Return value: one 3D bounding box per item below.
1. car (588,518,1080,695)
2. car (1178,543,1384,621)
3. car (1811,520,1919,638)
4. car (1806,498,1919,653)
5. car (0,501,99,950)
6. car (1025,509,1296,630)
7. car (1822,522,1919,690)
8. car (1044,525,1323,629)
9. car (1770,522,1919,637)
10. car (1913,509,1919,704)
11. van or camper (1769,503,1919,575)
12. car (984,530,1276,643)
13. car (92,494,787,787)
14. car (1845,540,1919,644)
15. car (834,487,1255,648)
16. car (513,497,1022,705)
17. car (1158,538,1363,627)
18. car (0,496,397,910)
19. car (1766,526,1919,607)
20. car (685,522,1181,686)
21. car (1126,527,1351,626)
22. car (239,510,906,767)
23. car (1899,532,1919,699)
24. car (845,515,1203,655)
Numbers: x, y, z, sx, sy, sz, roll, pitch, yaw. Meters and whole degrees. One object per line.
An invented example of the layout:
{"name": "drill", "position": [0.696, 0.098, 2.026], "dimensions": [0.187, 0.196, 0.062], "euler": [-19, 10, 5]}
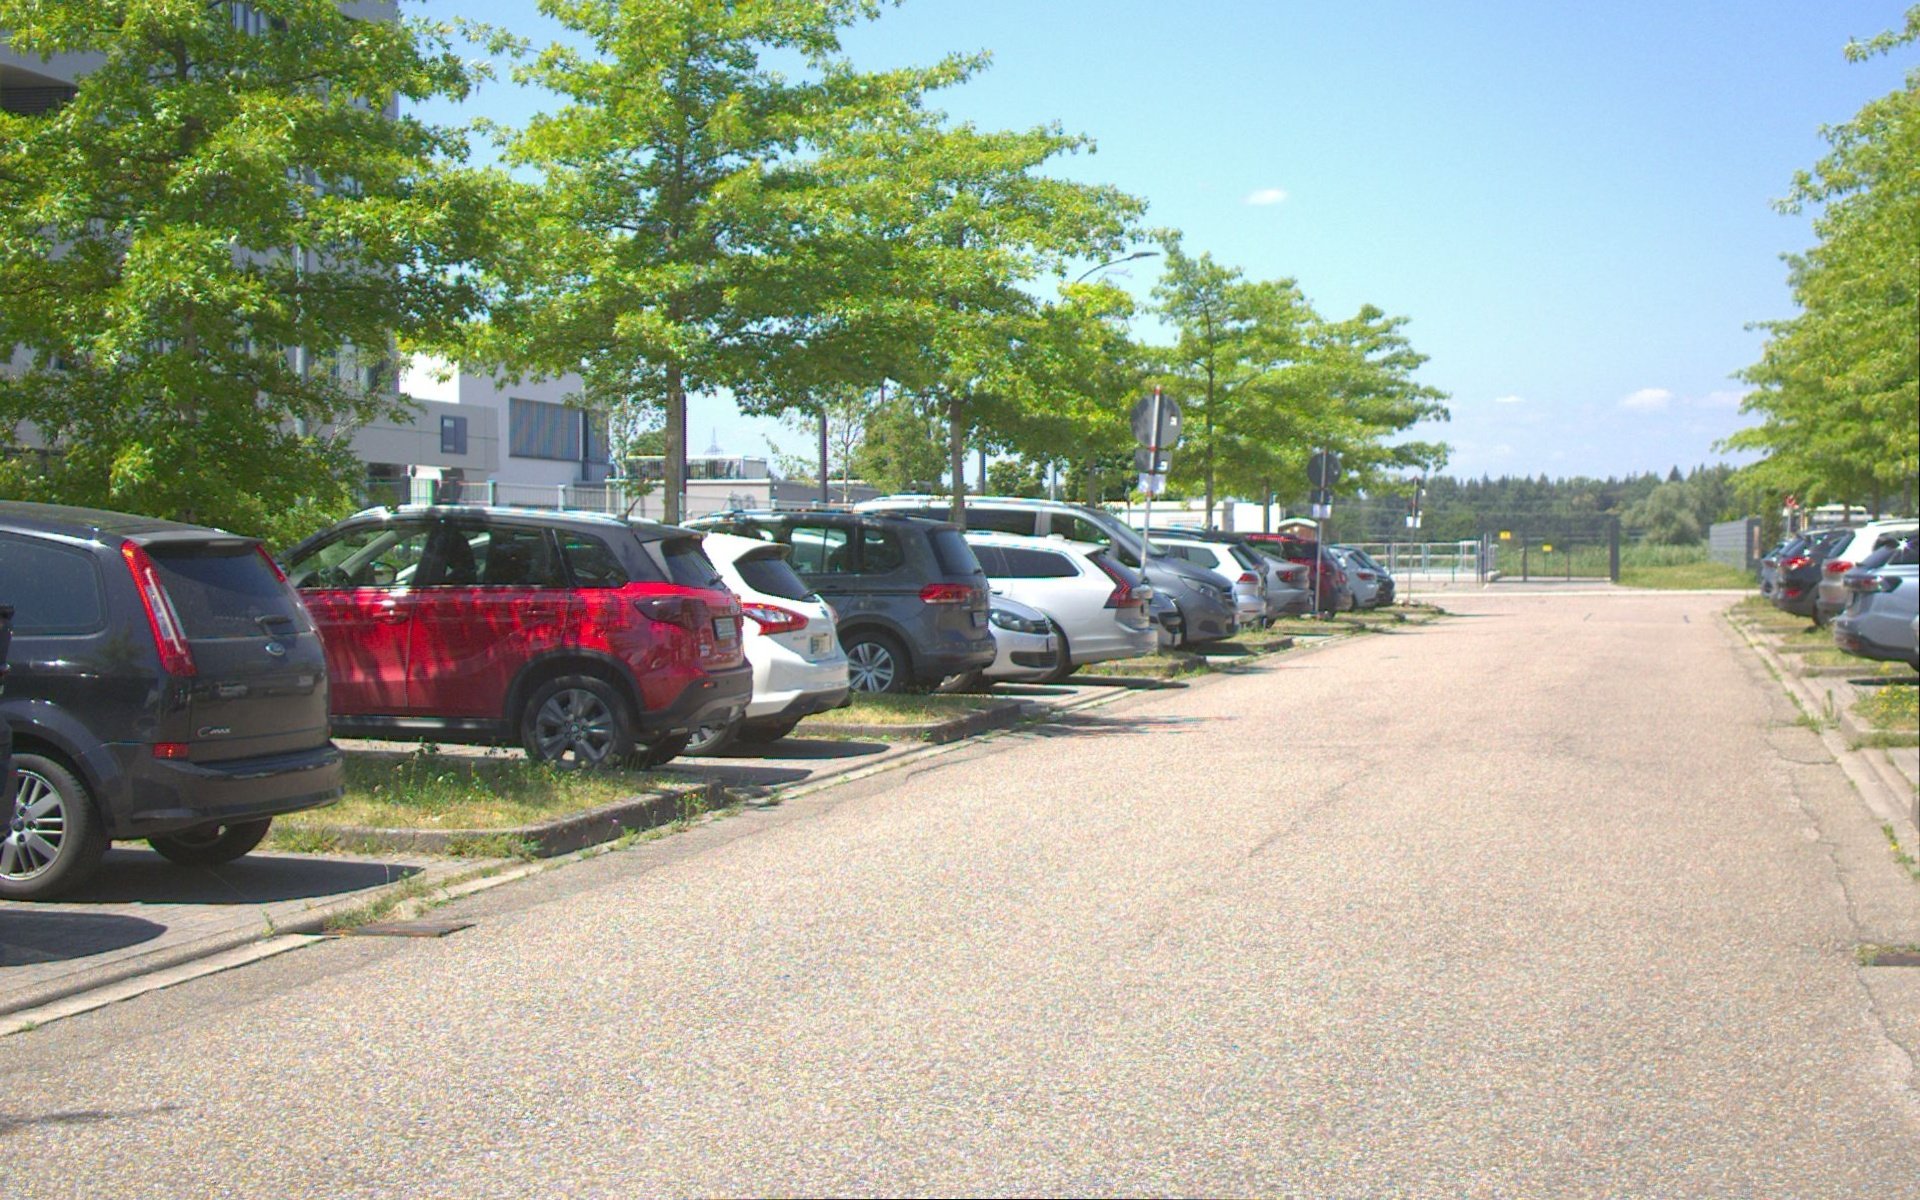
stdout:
{"name": "car", "position": [-1.147, 0.033, 32.217], "dimensions": [4.313, 1.468, 1.727], "euler": [2, 2, 10]}
{"name": "car", "position": [6.603, -0.378, 70.484], "dimensions": [4.077, 1.419, 1.873], "euler": [2, 1, 8]}
{"name": "car", "position": [14.486, -0.340, 50.225], "dimensions": [3.877, 1.672, 1.781], "euler": [-1, 0, 12]}
{"name": "car", "position": [12.544, -0.337, 41.570], "dimensions": [4.405, 1.824, 1.794], "euler": [-1, 0, 13]}
{"name": "car", "position": [-5.305, 0.387, 12.376], "dimensions": [3.839, 1.588, 1.829], "euler": [2, 2, 8]}
{"name": "car", "position": [3.091, -0.475, 52.609], "dimensions": [3.988, 1.673, 1.777], "euler": [2, 1, 7]}
{"name": "car", "position": [10.750, -0.005, 32.749], "dimensions": [4.717, 1.555, 1.913], "euler": [-1, 0, 8]}
{"name": "car", "position": [3.592, -0.377, 54.944], "dimensions": [4.195, 1.475, 1.712], "euler": [2, 1, 12]}
{"name": "car", "position": [14.677, -0.343, 52.951], "dimensions": [4.175, 1.690, 1.781], "euler": [-1, 0, 11]}
{"name": "car", "position": [9.839, 0.020, 27.676], "dimensions": [4.049, 1.619, 1.692], "euler": [-1, 0, 12]}
{"name": "van or camper", "position": [27.407, -1.868, 105.523], "dimensions": [4.938, 2.156, 1.999], "euler": [0, 0, 11]}
{"name": "car", "position": [2.494, -0.214, 49.973], "dimensions": [4.039, 1.456, 1.604], "euler": [2, 1, 9]}
{"name": "car", "position": [-3.149, 0.209, 21.136], "dimensions": [3.840, 1.586, 1.727], "euler": [2, 2, 10]}
{"name": "car", "position": [14.211, -0.155, 48.013], "dimensions": [3.459, 1.412, 1.754], "euler": [-1, 0, 11]}
{"name": "car", "position": [1.108, -0.435, 44.164], "dimensions": [5.073, 1.885, 1.996], "euler": [2, 1, 13]}
{"name": "car", "position": [-1.656, -0.022, 30.156], "dimensions": [4.119, 1.629, 1.727], "euler": [2, 2, 11]}
{"name": "car", "position": [5.578, -0.337, 63.667], "dimensions": [3.657, 1.503, 1.731], "euler": [2, 1, 8]}
{"name": "car", "position": [-4.595, 0.340, 14.741], "dimensions": [3.908, 1.586, 1.727], "euler": [2, 2, 11]}
{"name": "car", "position": [19.406, -0.730, 73.244], "dimensions": [4.281, 1.638, 1.850], "euler": [-1, 0, 12]}
{"name": "car", "position": [-0.232, 0.011, 34.626], "dimensions": [4.715, 1.442, 1.857], "euler": [2, 2, 9]}
{"name": "car", "position": [4.970, -0.436, 61.123], "dimensions": [3.740, 1.616, 1.815], "euler": [2, 1, 12]}
{"name": "car", "position": [-2.639, 0.217, 23.723], "dimensions": [4.175, 1.508, 1.806], "euler": [2, 2, 13]}
{"name": "car", "position": [10.399, 0.076, 30.187], "dimensions": [4.049, 1.448, 1.645], "euler": [-1, 0, 12]}
{"name": "car", "position": [0.784, -0.196, 41.145], "dimensions": [3.971, 1.479, 1.763], "euler": [3, 1, 12]}
